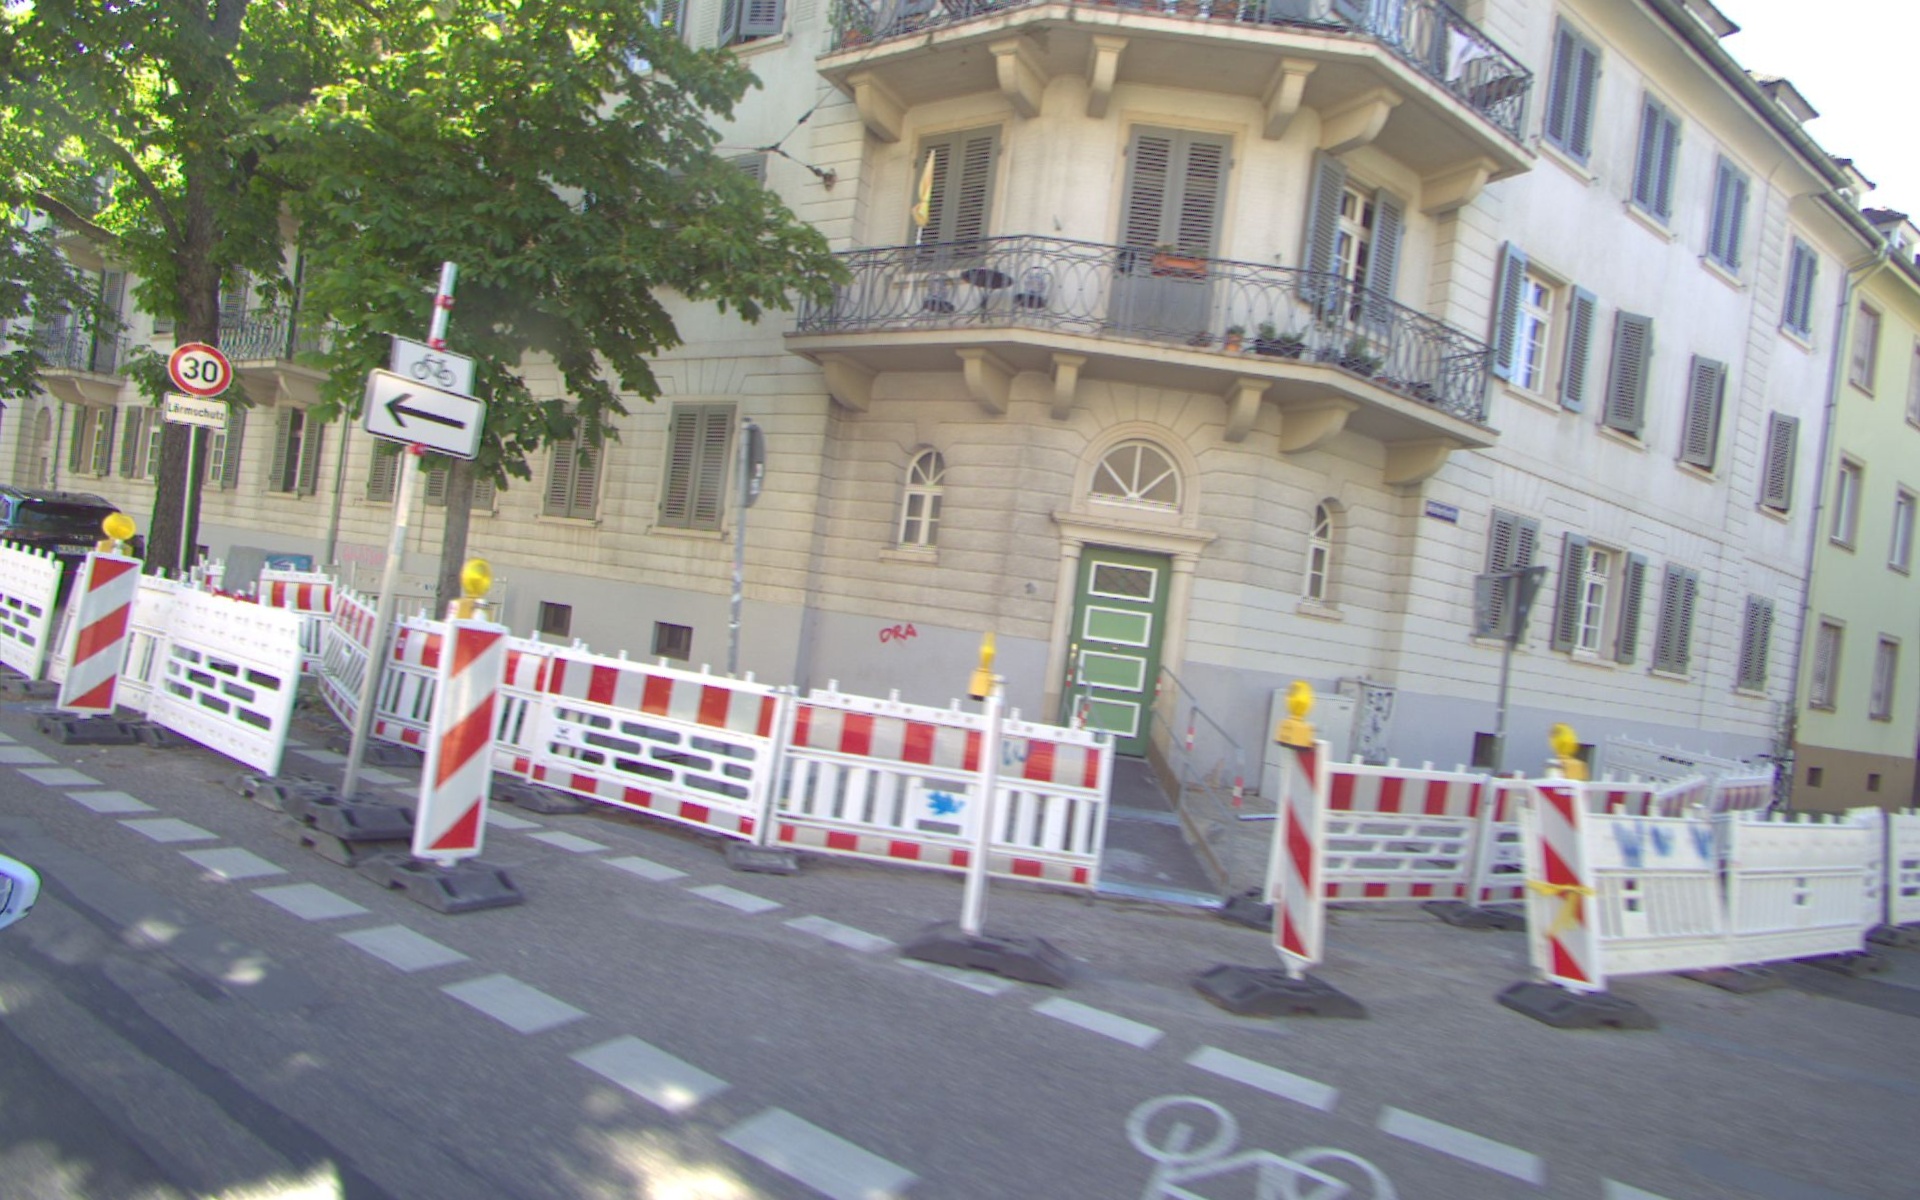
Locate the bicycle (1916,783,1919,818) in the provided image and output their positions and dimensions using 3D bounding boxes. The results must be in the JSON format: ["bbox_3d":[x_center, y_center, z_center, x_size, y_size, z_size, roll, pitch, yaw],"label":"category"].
[{"bbox_3d":[24.340,4.777,24.448,3.964,1.170,0.759,9,-1,-35],"label":"bicycle"}]

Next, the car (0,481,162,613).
[{"bbox_3d":[-14.033,-0.907,15.064,4.508,1.647,1.811,7,1,32],"label":"car"}]

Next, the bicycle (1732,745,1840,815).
[{"bbox_3d":[15.697,3.438,19.078,3.082,1.127,0.521,8,2,-33],"label":"bicycle"}]
